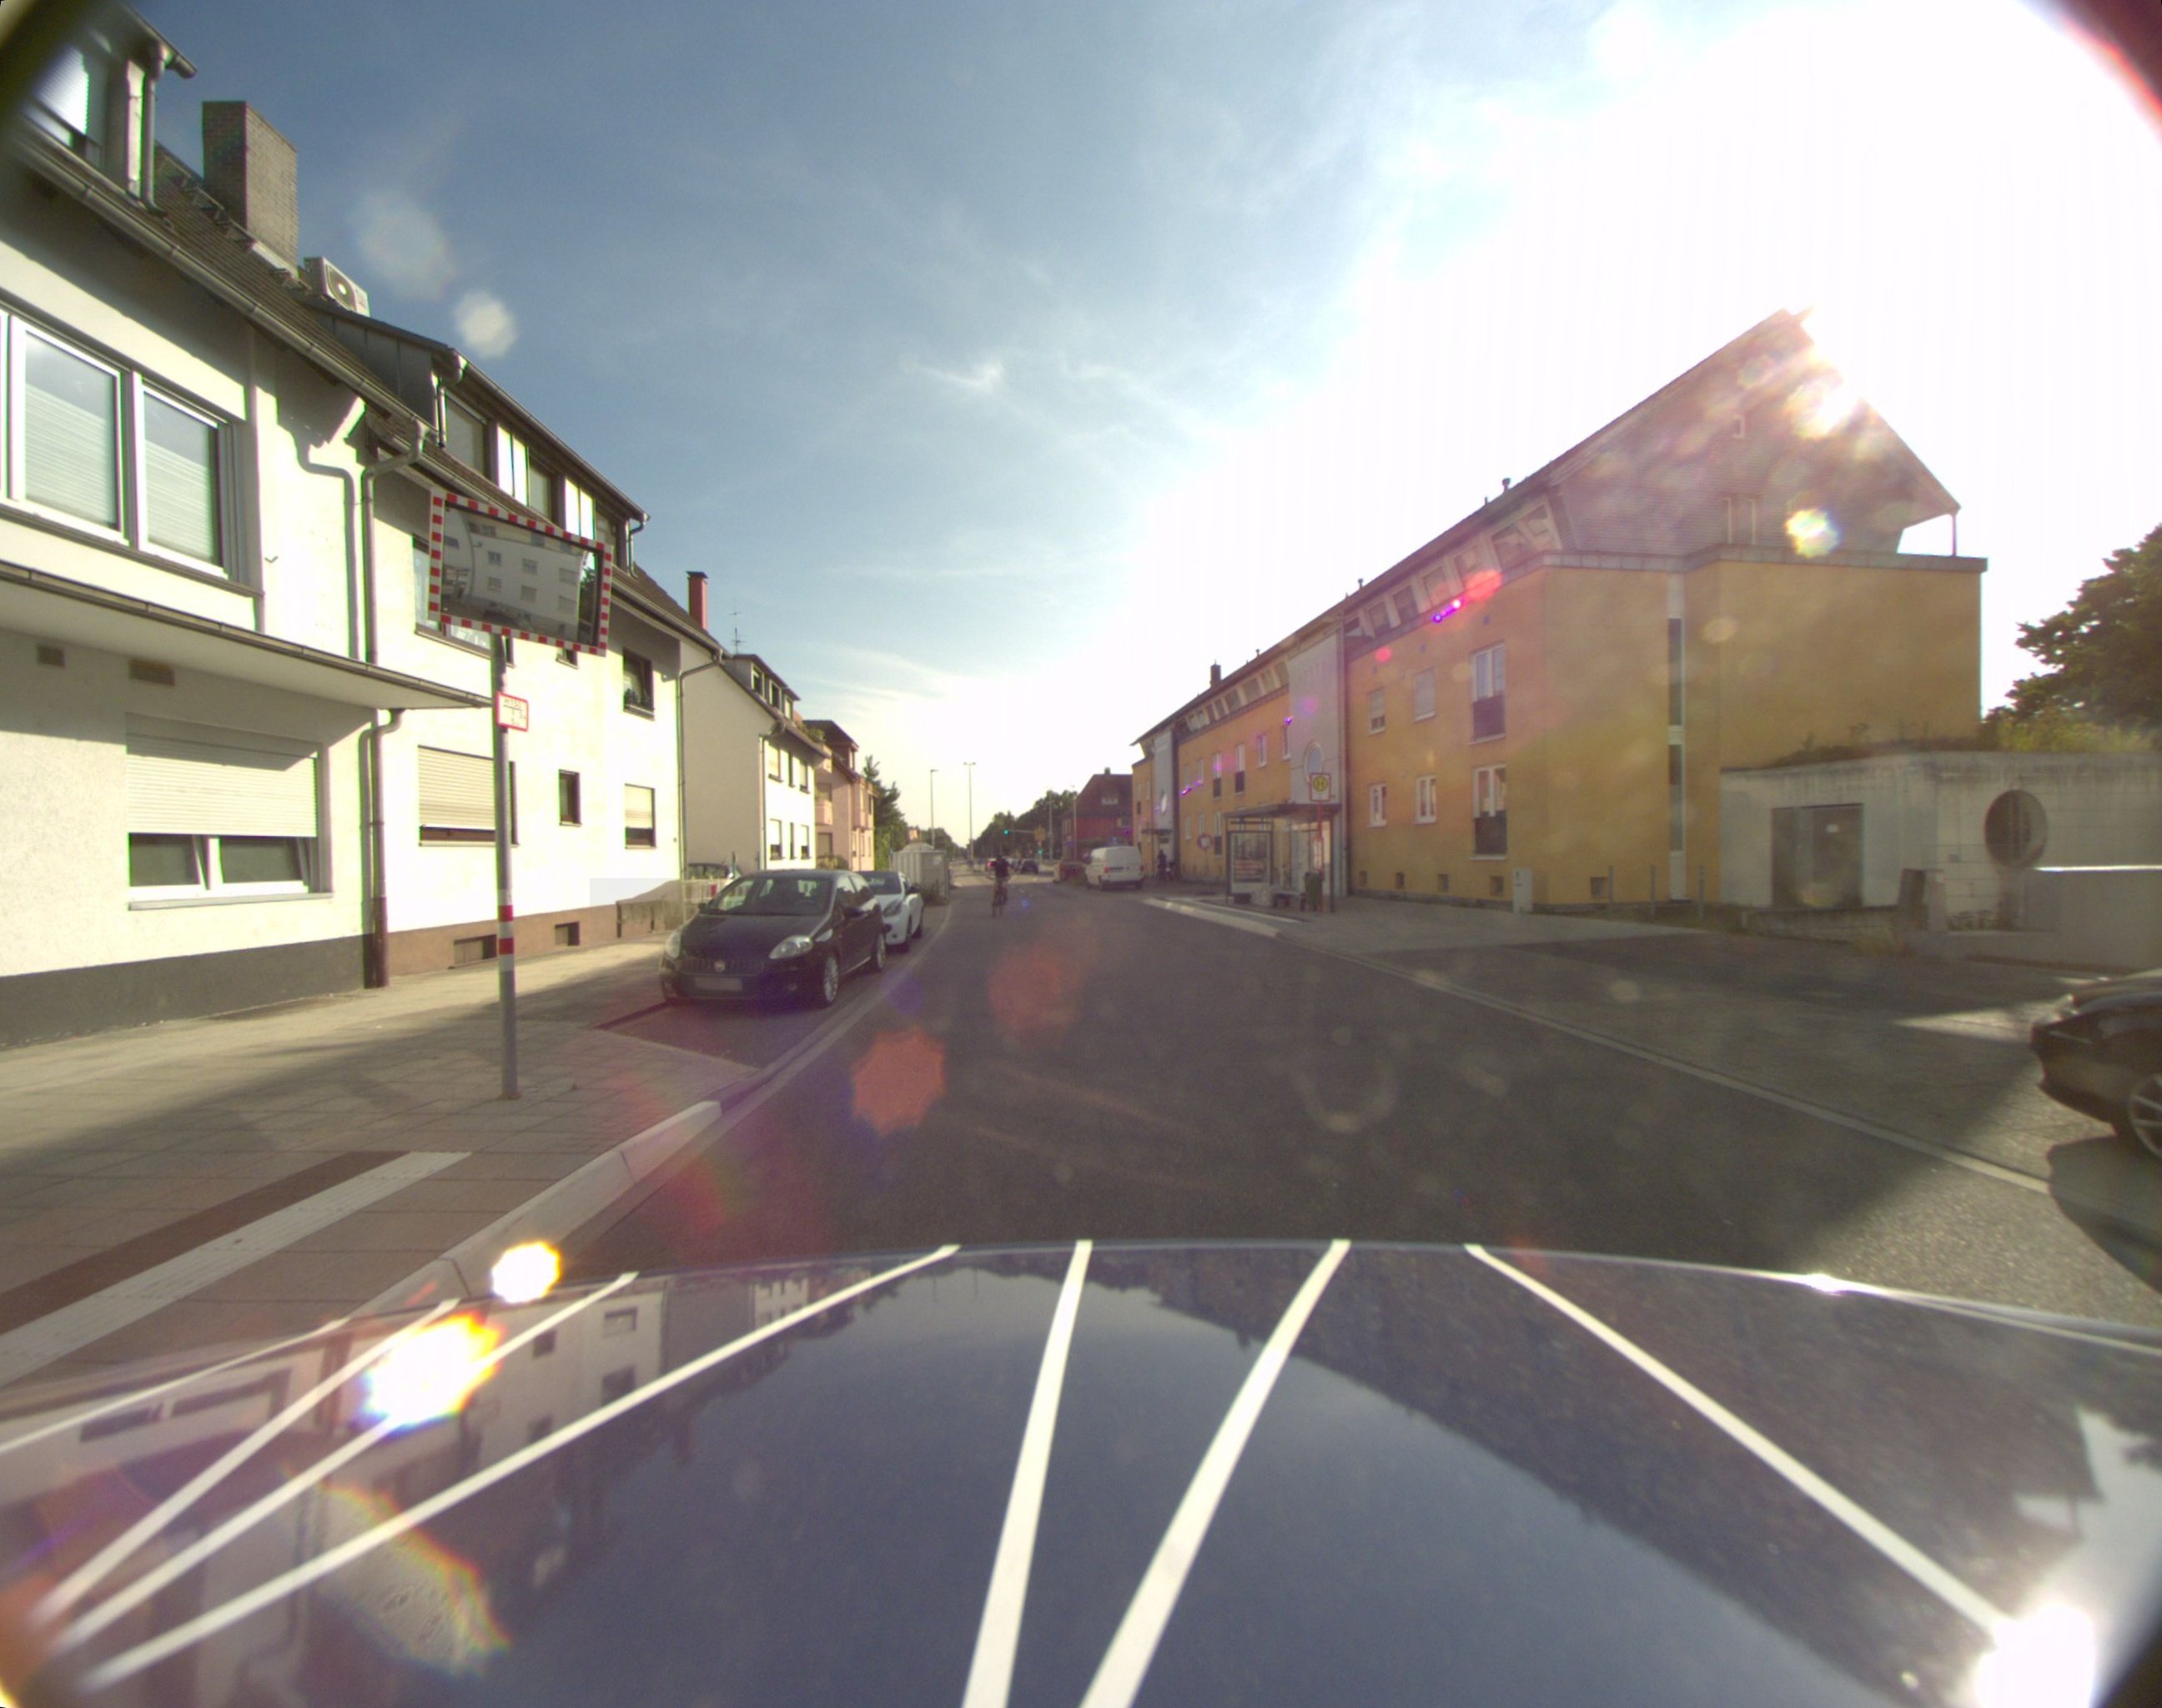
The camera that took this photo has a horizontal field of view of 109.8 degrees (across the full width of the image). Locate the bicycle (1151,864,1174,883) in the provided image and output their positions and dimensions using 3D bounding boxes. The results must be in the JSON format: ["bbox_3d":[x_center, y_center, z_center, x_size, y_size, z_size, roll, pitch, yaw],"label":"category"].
[{"bbox_3d":[4.099,0.982,38.498,0.692,0.907,1.872,-1,1,-8],"label":"bicycle"}]

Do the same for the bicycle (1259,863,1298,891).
[{"bbox_3d":[7.404,0.849,28.537,0.718,0.991,1.905,-2,1,-8],"label":"bicycle"}]

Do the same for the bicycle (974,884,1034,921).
[{"bbox_3d":[-2.078,1.305,20.771,0.679,0.849,2.030,0,1,25],"label":"bicycle"}]

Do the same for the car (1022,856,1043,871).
[{"bbox_3d":[-4.945,0.931,77.149,1.796,1.433,3.997,-3,0,-9],"label":"car"}]

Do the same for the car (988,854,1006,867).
[{"bbox_3d":[-10.181,0.771,92.047,1.983,1.520,3.997,-1,0,-9],"label":"car"}]

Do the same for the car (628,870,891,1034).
[{"bbox_3d":[-3.488,0.967,9.057,1.612,1.413,3.918,1,0,-3],"label":"car"}]

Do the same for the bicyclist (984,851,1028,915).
[{"bbox_3d":[-2.051,0.771,20.810,0.844,1.680,0.879,0,1,25],"label":"bicyclist"}]

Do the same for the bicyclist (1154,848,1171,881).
[{"bbox_3d":[4.108,0.521,38.402,0.676,1.659,0.665,-1,1,-9],"label":"bicyclist"}]

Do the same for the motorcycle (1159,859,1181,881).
[{"bbox_3d":[4.822,0.857,41.250,0.584,1.176,1.876,-2,1,-12],"label":"motorcycle"}]

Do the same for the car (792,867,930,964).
[{"bbox_3d":[-3.874,1.009,14.092,1.720,1.390,4.331,2,0,-7],"label":"car"}]

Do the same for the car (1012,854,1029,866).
[{"bbox_3d":[-7.678,0.687,96.402,1.796,1.433,3.997,-2,0,-9],"label":"car"}]

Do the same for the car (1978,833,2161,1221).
[{"bbox_3d":[5.451,0.715,1.751,1.780,1.612,4.177,-4,0,0],"label":"car"}]

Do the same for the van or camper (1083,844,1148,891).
[{"bbox_3d":[1.514,0.578,35.467,2.000,1.992,4.916,-2,1,-10],"label":"van or camper"}]

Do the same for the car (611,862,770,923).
[{"bbox_3d":[-11.544,1.107,22.671,3.752,1.557,1.794,-2,1,-6],"label":"car"}]
